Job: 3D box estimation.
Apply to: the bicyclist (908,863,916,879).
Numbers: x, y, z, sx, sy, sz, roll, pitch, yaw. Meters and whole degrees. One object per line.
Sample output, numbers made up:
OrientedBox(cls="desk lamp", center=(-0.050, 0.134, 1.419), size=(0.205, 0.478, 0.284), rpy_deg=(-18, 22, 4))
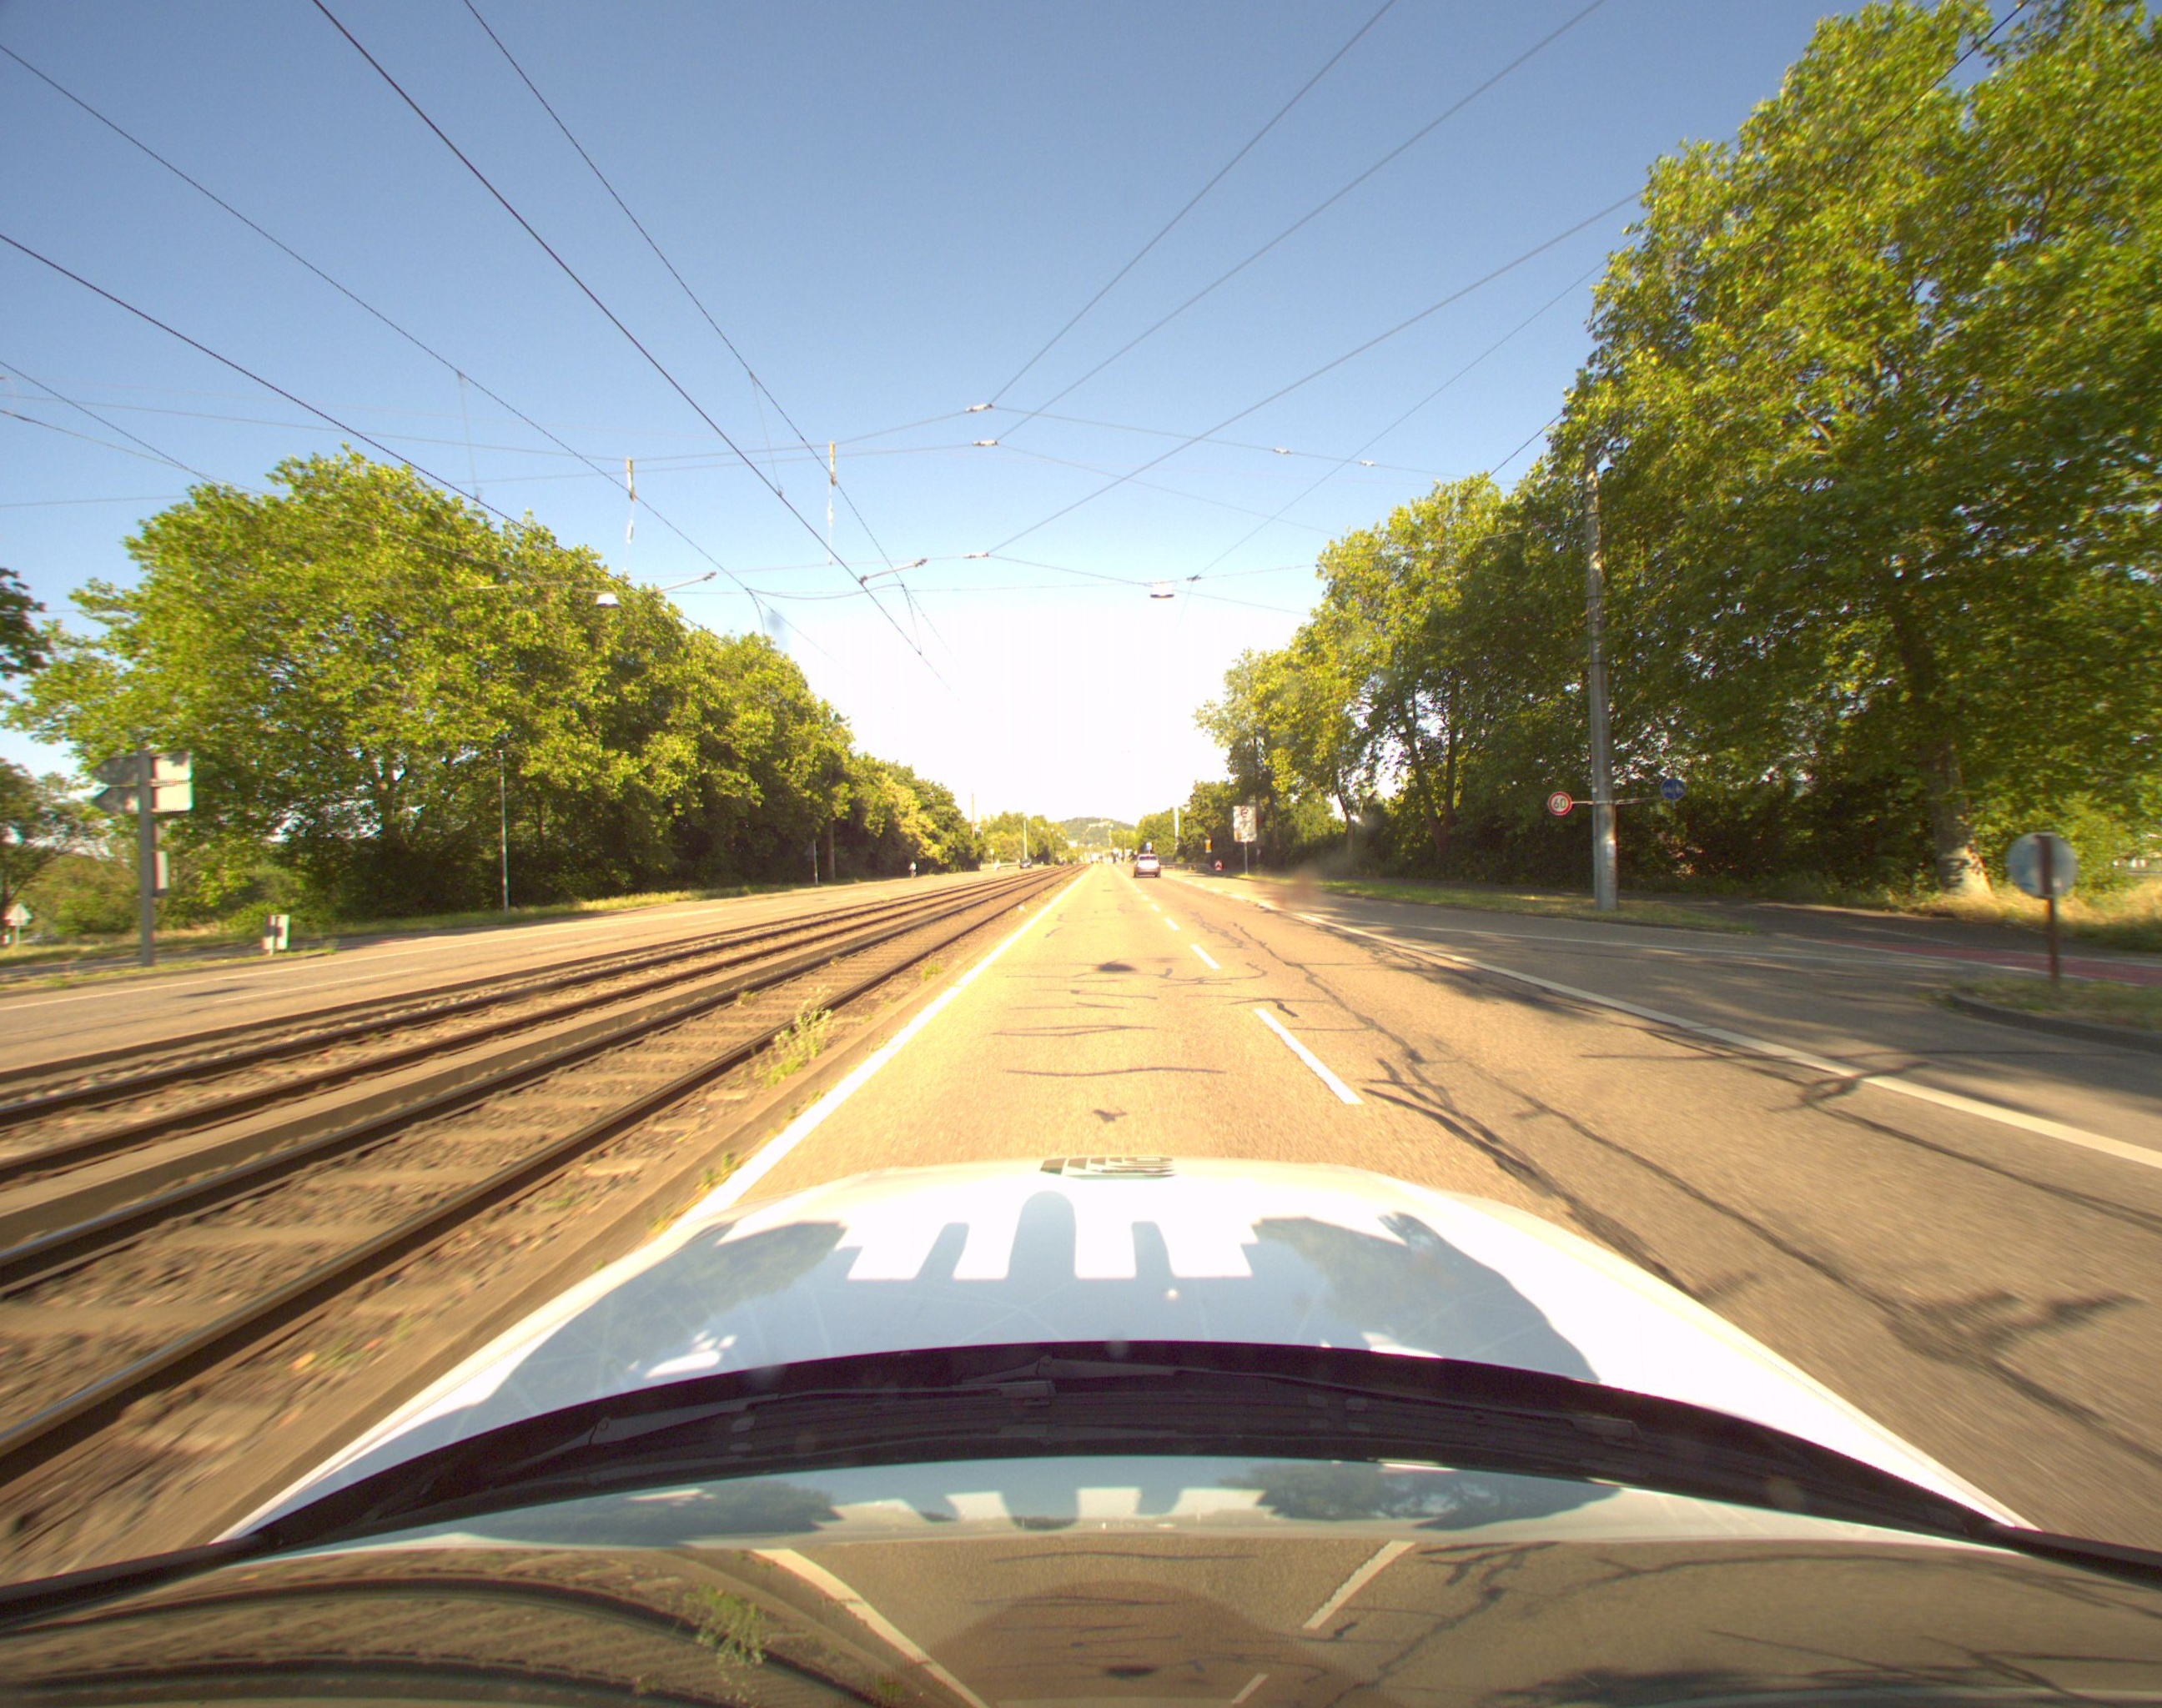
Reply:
OrientedBox(cls="bicyclist", center=(-17.227, 1.727, 82.828), size=(0.548, 1.690, 0.821), rpy_deg=(0, -1, 5))

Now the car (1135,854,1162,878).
OrientedBox(cls="car", center=(4.946, 0.893, 59.856), size=(1.880, 1.693, 4.261), rpy_deg=(-1, -1, 4))

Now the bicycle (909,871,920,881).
OrientedBox(cls="bicycle", center=(-16.978, 2.233, 83.006), size=(0.548, 0.986, 2.240), rpy_deg=(0, -1, 3))

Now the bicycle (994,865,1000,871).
OrientedBox(cls="bicycle", center=(-12.592, 2.146, 121.730), size=(0.505, 0.892, 2.030), rpy_deg=(0, -1, 5))

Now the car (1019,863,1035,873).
OrientedBox(cls="car", center=(-9.218, 2.344, 138.557), size=(1.984, 1.685, 4.802), rpy_deg=(-3, -1, 5))

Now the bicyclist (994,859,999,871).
OrientedBox(cls="bicyclist", center=(-12.603, 1.655, 121.643), size=(0.505, 1.687, 0.920), rpy_deg=(0, -1, 4))
